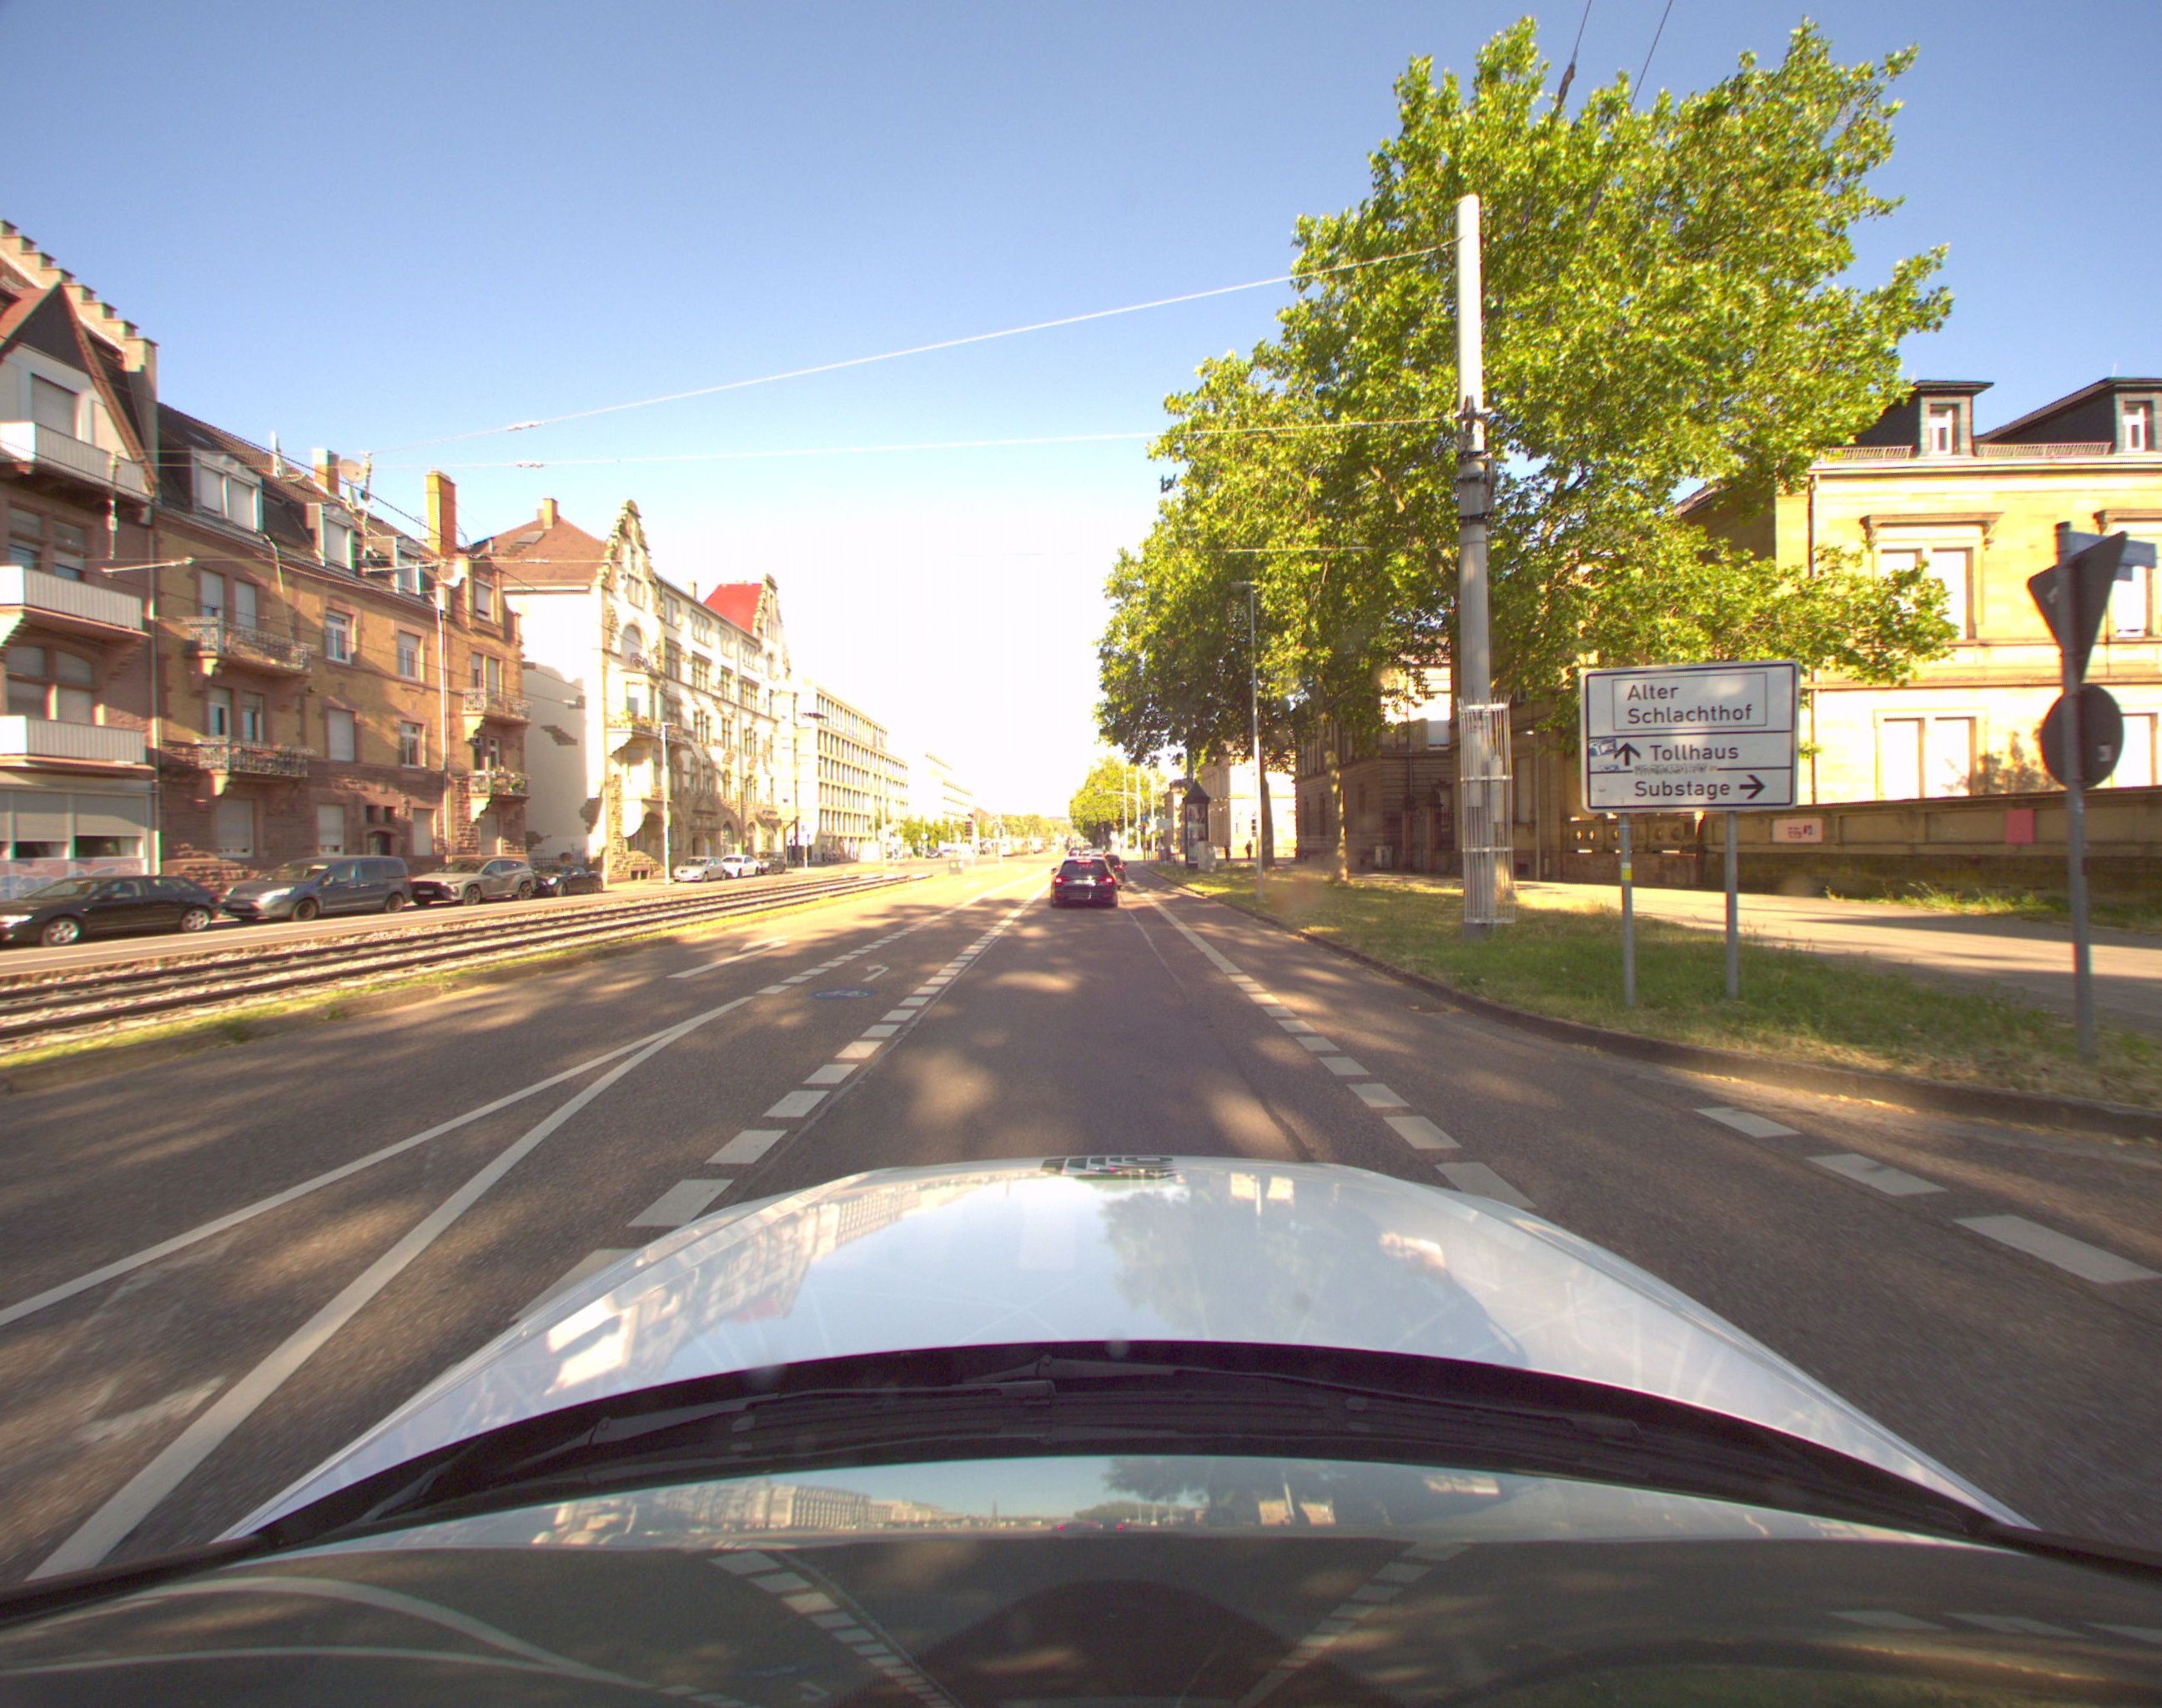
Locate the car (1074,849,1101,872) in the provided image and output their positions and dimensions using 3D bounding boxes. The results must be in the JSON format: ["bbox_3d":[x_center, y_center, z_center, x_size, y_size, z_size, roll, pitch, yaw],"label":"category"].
[{"bbox_3d":[0.496,0.429,56.778,1.788,1.510,4.001,-1,0,1],"label":"car"}]

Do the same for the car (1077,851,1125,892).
[{"bbox_3d":[0.801,0.650,33.231,1.788,1.510,4.001,-1,0,1],"label":"car"}]

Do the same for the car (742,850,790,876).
[{"bbox_3d":[-22.352,0.584,57.913,1.789,1.719,4.184,2,1,-1],"label":"car"}]

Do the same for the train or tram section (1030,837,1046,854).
[{"bbox_3d":[-8.658,-1.720,165.720,2.817,3.450,9.060,-1,1,-1],"label":"train or tram section"}]

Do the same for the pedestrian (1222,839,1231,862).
[{"bbox_3d":[10.742,-0.255,59.994,0.584,1.728,0.652,1,1,13],"label":"pedestrian"}]

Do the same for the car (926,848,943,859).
[{"bbox_3d":[-22.280,-0.117,123.943,1.789,1.510,3.997,-1,1,-2],"label":"car"}]

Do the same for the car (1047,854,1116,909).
[{"bbox_3d":[0.027,0.736,23.860,1.827,1.391,4.158,-1,1,0],"label":"car"}]

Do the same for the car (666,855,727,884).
[{"bbox_3d":[-22.059,0.842,46.862,1.791,1.510,3.995,2,1,-4],"label":"car"}]

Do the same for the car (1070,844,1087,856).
[{"bbox_3d":[-0.349,-0.558,107.914,1.785,1.510,4.007,1,0,6],"label":"car"}]

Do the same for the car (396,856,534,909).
[{"bbox_3d":[-21.988,0.961,29.315,1.681,1.652,4.199,2,1,0],"label":"car"}]

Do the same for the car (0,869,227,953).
[{"bbox_3d":[-22.124,1.170,18.206,1.788,1.510,4.000,2,1,0],"label":"car"}]

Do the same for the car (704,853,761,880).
[{"bbox_3d":[-22.327,0.766,52.344,1.789,1.510,4.184,2,1,-1],"label":"car"}]

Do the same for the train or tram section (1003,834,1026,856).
[{"bbox_3d":[-10.950,-1.465,134.586,2.815,3.450,9.065,-1,1,1],"label":"train or tram section"}]

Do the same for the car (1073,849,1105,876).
[{"bbox_3d":[0.473,0.480,48.339,1.788,1.510,4.001,-1,0,1],"label":"car"}]

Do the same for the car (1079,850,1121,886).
[{"bbox_3d":[0.884,0.623,37.853,1.788,1.510,4.001,-1,0,1],"label":"car"}]

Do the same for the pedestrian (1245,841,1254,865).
[{"bbox_3d":[12.342,-0.087,59.676,0.584,1.728,0.653,1,1,15],"label":"pedestrian"}]

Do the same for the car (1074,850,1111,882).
[{"bbox_3d":[0.617,0.577,42.560,1.788,1.510,4.001,-1,0,1],"label":"car"}]

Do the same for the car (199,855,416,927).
[{"bbox_3d":[-22.032,0.973,23.498,1.786,1.753,4.459,2,1,3],"label":"car"}]

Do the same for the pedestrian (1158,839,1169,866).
[{"bbox_3d":[5.338,-0.094,52.759,0.584,1.728,0.652,1,1,13],"label":"pedestrian"}]

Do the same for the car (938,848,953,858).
[{"bbox_3d":[-21.847,-0.143,131.074,1.789,1.510,3.997,-1,1,-2],"label":"car"}]

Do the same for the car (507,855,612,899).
[{"bbox_3d":[-22.037,0.905,34.643,1.681,1.652,4.199,2,1,0],"label":"car"}]
